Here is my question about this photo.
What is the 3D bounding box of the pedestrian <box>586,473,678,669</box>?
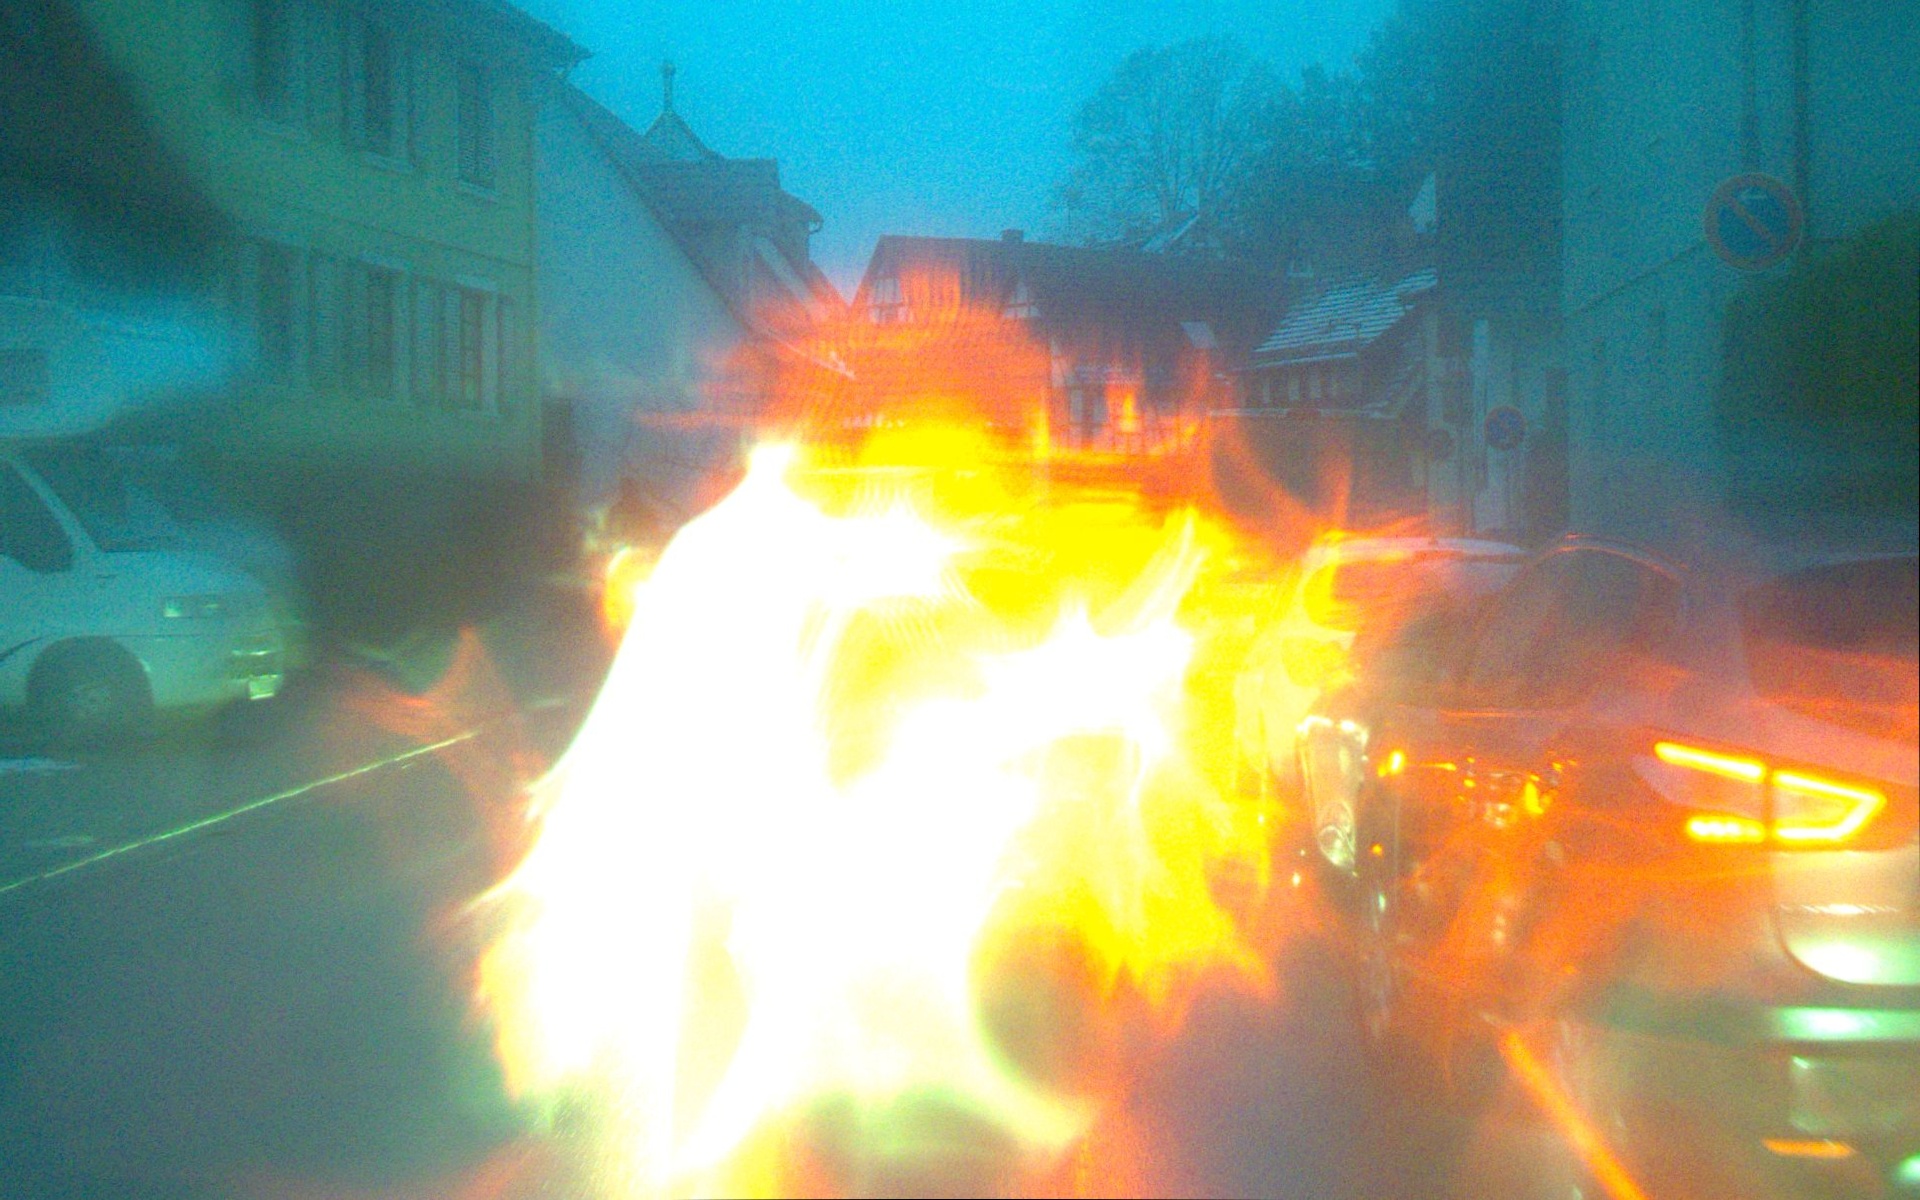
[{"bbox_3d":[-3.403,-0.307,35.683,0.873,2.007,0.795,0,1,0],"label":"pedestrian"}]

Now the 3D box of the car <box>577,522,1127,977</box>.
[{"bbox_3d":[-0.366,0.456,13.429,1.795,1.471,4.000,1,1,0],"label":"car"}]

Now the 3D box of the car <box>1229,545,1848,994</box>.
[{"bbox_3d":[1.972,0.505,12.733,1.679,1.390,3.752,0,1,0],"label":"car"}]

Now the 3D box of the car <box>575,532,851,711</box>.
[{"bbox_3d":[-2.029,0.124,29.417,1.868,1.397,4.366,0,1,2],"label":"car"}]

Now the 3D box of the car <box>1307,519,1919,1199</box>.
[{"bbox_3d":[1.921,0.582,7.948,1.798,1.529,4.000,0,1,0],"label":"car"}]

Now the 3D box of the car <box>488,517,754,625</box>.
[{"bbox_3d":[-4.849,-0.431,49.436,3.508,1.502,1.692,1,1,8],"label":"car"}]

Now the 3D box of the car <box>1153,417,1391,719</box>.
[{"bbox_3d":[2.591,-0.297,29.298,1.814,2.405,3.751,0,1,2],"label":"car"}]

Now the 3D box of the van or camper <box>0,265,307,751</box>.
[{"bbox_3d":[-7.688,-0.482,22.698,6.062,2.945,2.406,-3,1,6],"label":"van or camper"}]

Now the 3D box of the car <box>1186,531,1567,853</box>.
[{"bbox_3d":[2.086,0.396,18.093,1.725,1.502,3.751,0,1,3],"label":"car"}]
